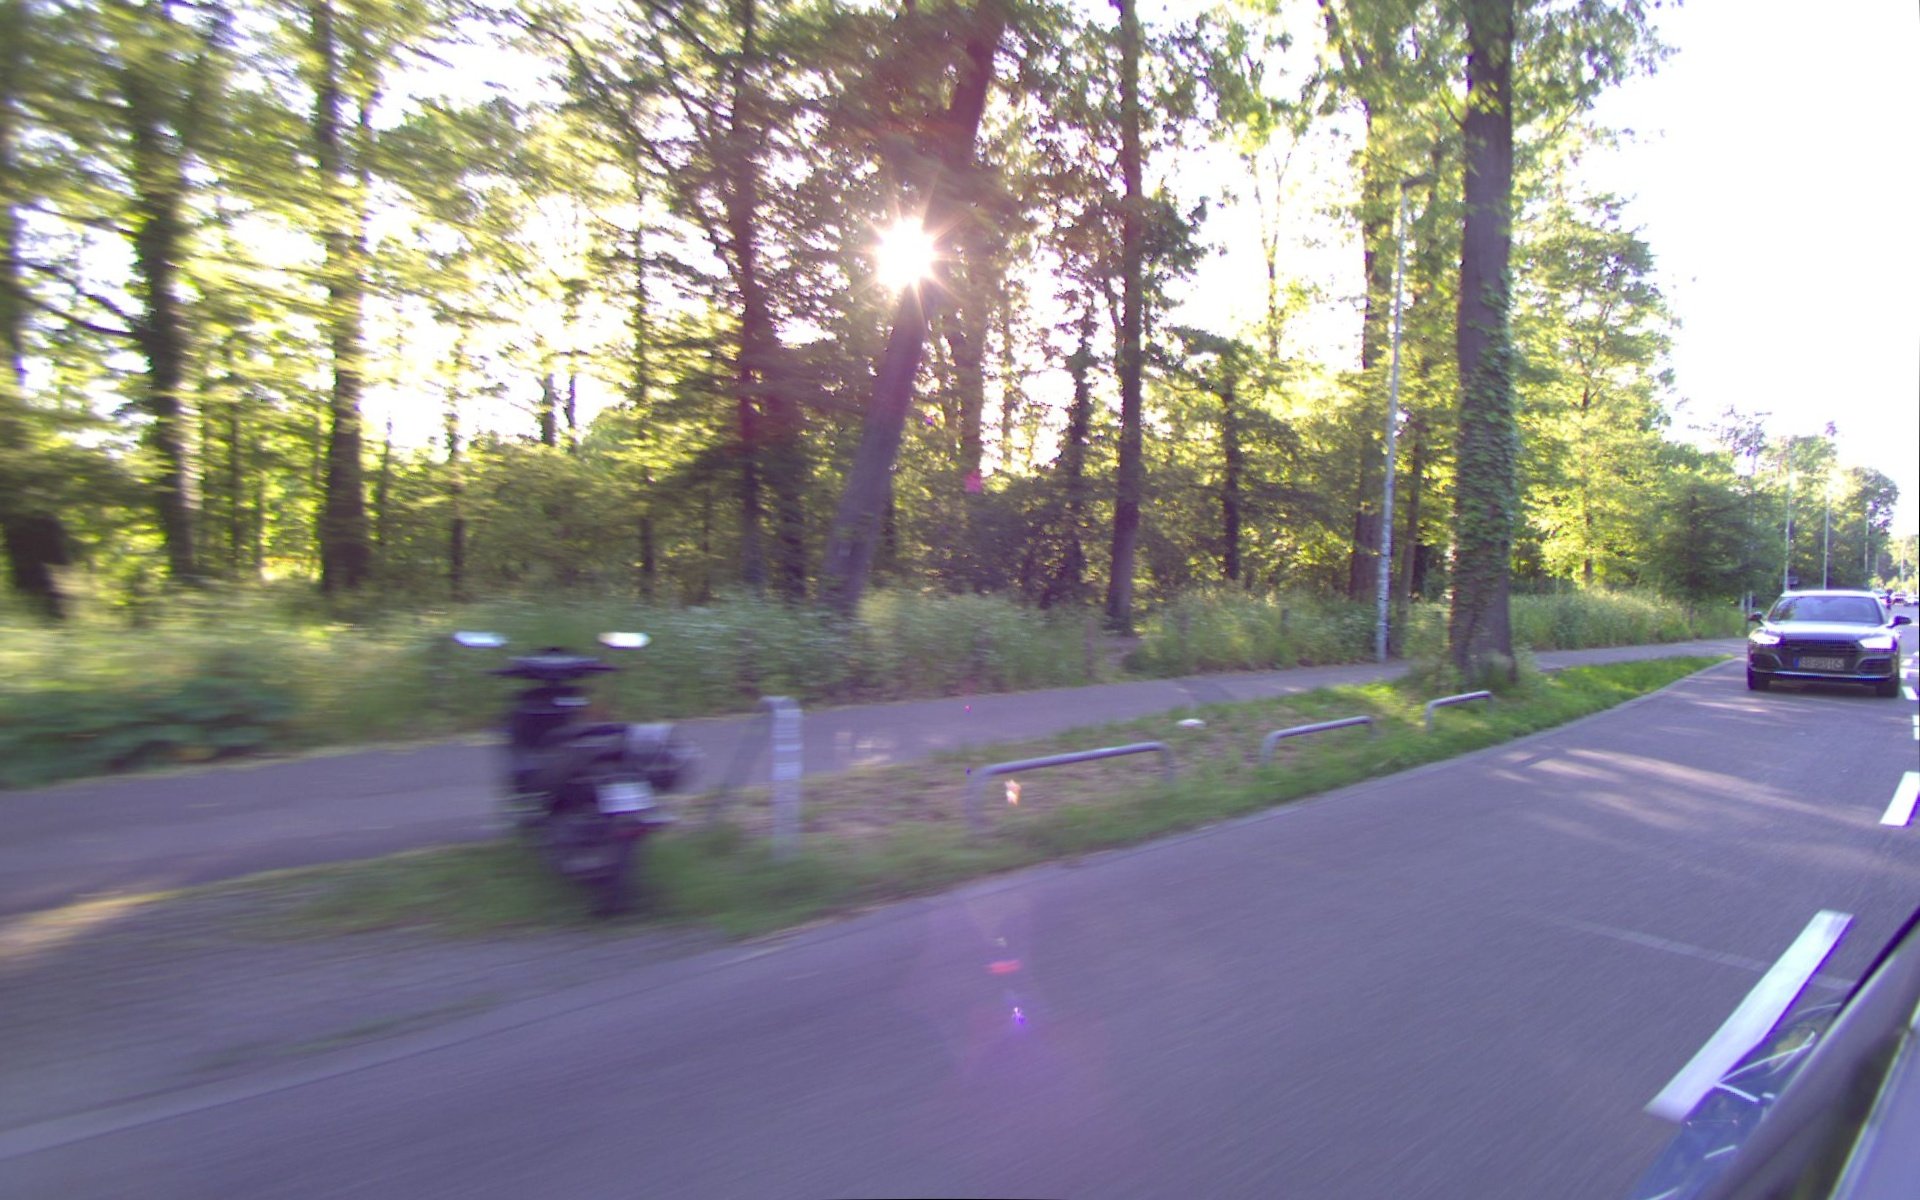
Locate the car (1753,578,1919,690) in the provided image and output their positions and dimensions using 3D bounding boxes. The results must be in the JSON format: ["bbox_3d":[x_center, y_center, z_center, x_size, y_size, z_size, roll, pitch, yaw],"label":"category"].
[{"bbox_3d":[14.847,0.467,17.034,3.935,1.638,1.858,-1,2,-45],"label":"car"}]

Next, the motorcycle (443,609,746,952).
[{"bbox_3d":[-1.837,0.729,4.931,0.758,1.269,1.736,0,3,-43],"label":"motorcycle"}]
